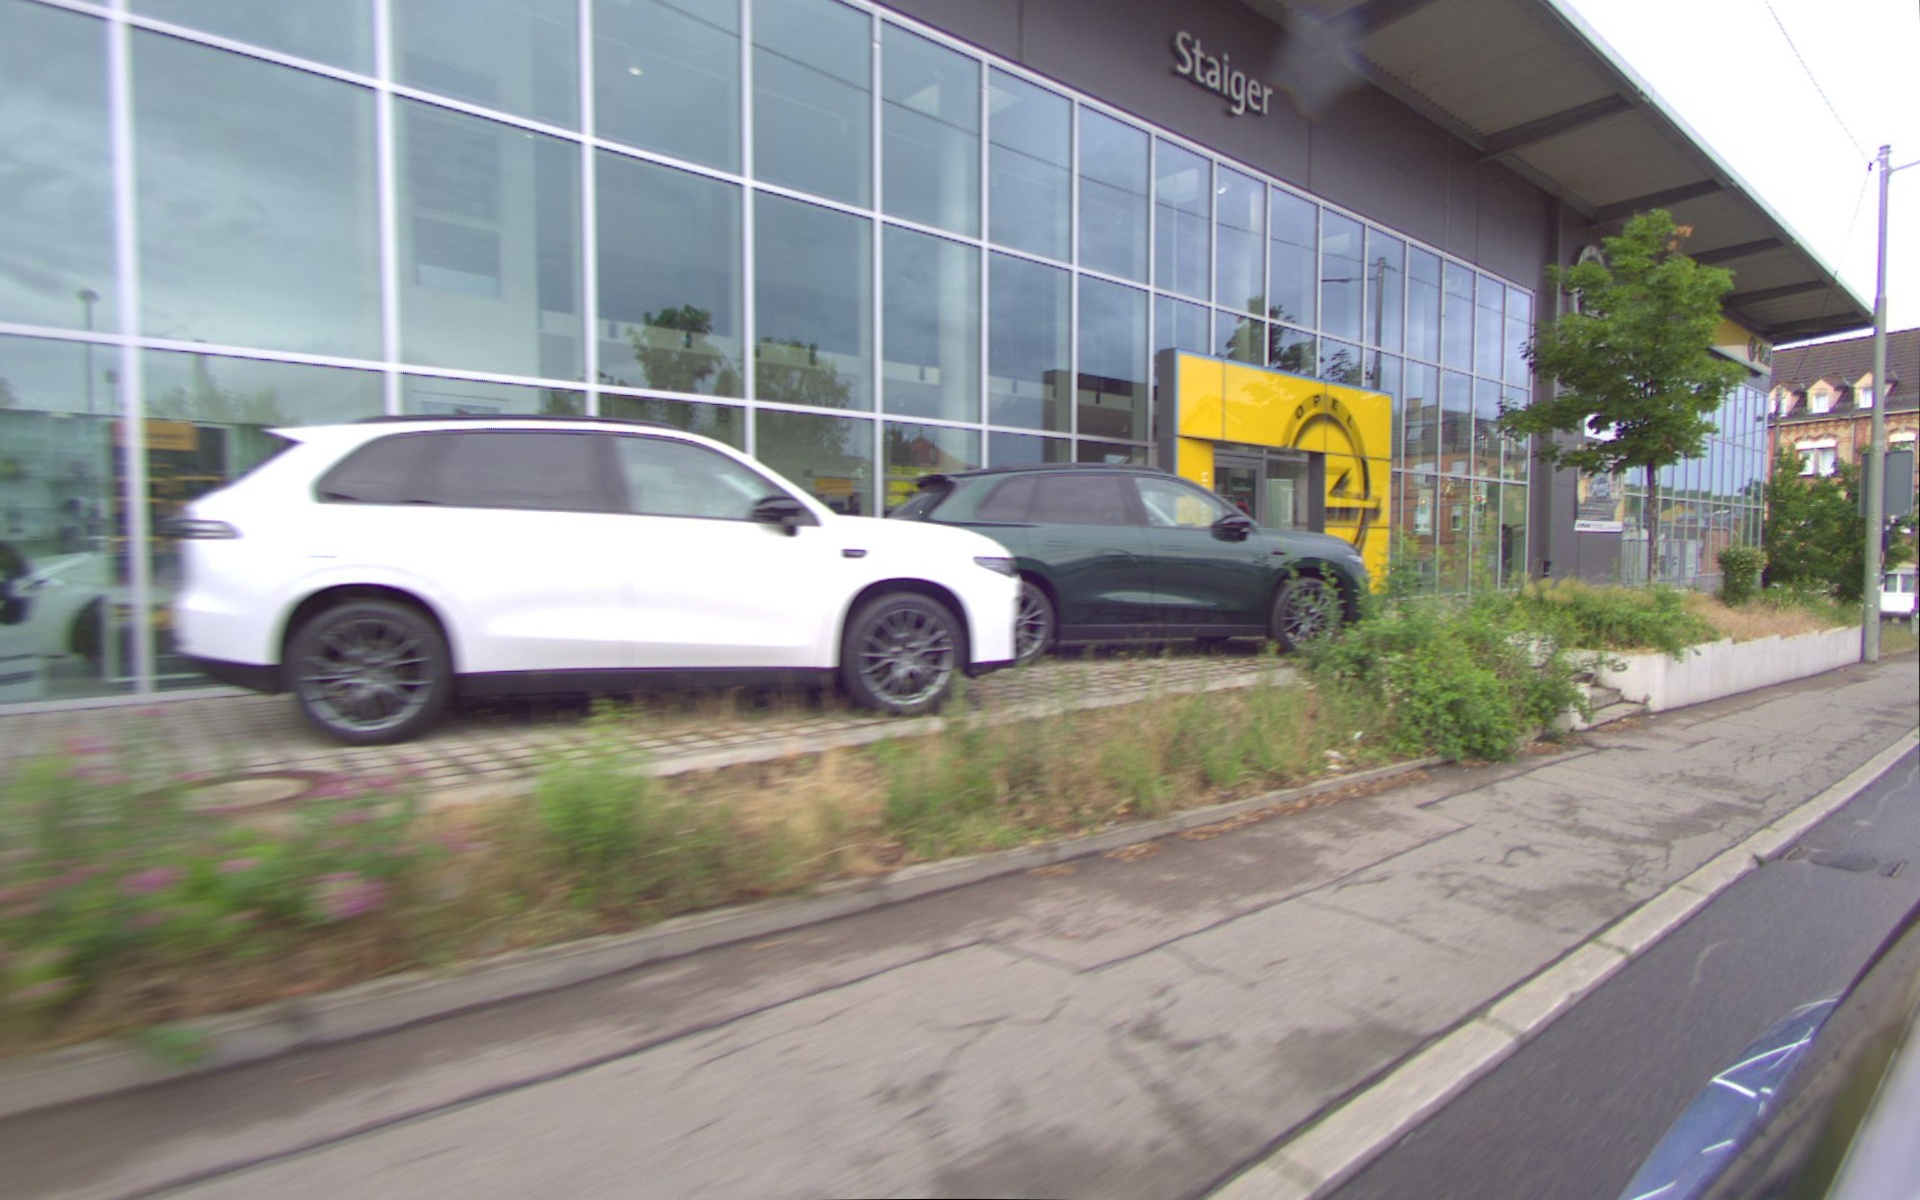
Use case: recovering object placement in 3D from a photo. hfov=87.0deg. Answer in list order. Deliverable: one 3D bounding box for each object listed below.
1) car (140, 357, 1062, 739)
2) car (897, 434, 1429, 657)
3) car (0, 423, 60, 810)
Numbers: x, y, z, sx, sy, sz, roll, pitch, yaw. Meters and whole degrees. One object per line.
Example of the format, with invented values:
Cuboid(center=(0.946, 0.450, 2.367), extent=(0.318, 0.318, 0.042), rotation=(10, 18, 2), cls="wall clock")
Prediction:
Cuboid(center=(-1.859, -0.290, 6.208), extent=(4.481, 1.731, 2.006), rotation=(0, 3, -17), cls="car")
Cuboid(center=(1.752, -0.475, 9.378), extent=(4.335, 1.731, 2.005), rotation=(0, 3, -14), cls="car")
Cuboid(center=(-5.700, 0.090, 2.752), extent=(4.476, 1.472, 1.921), rotation=(0, 3, -13), cls="car")
